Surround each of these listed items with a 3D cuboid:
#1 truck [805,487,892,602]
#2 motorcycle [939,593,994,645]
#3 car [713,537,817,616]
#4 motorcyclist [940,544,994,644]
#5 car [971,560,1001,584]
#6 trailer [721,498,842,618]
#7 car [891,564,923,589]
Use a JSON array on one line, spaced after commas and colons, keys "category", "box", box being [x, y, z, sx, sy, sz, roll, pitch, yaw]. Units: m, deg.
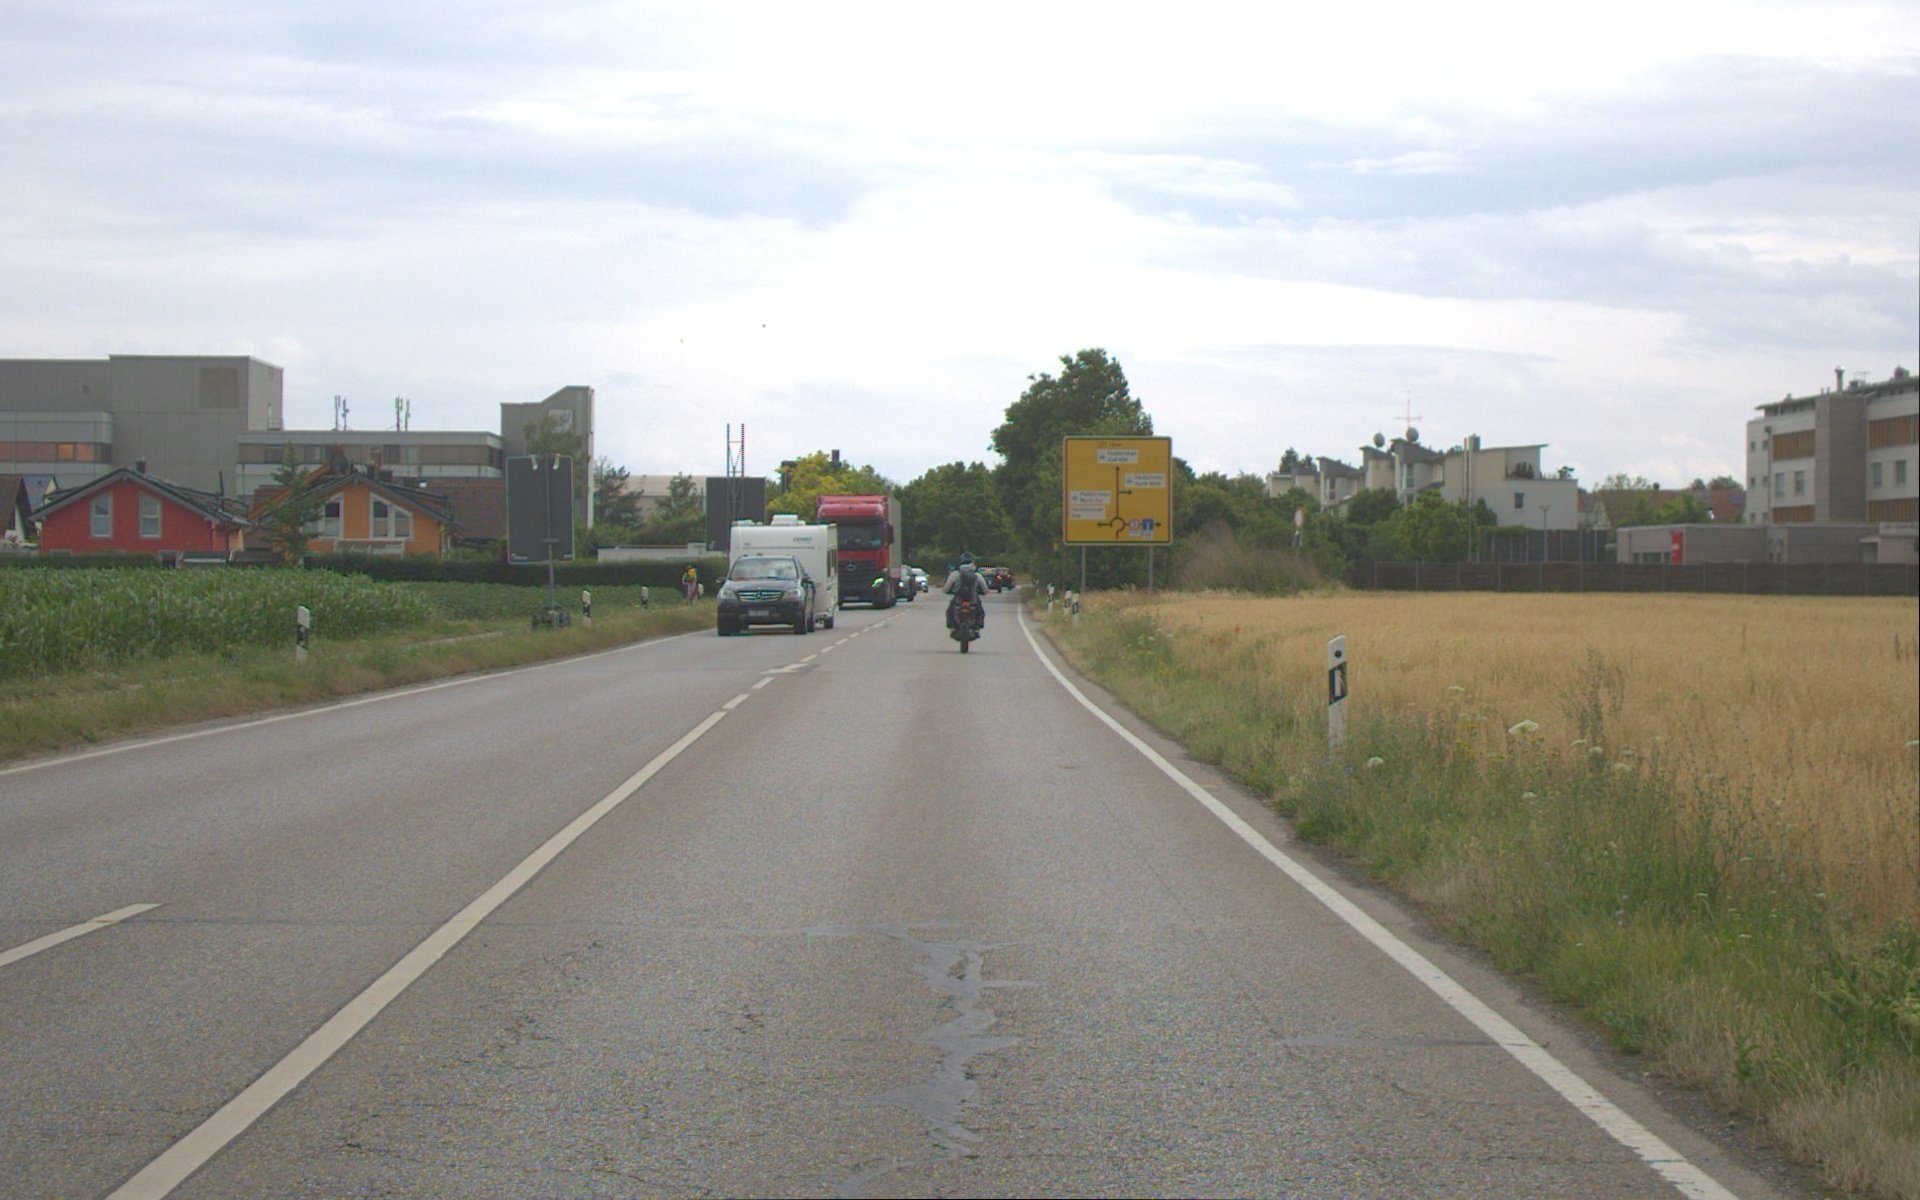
[{"category": "truck", "box": [-3.939, -1.949, 122.310, 2.729, 3.974, 6.816, 0, 0, 1]}, {"category": "motorcycle", "box": [0.119, 0.329, 60.459, 0.941, 0.887, 2.146, 0, 1, 1]}, {"category": "car", "box": [-4.252, -0.530, 75.734, 1.993, 1.693, 4.676, 0, 1, 0]}, {"category": "motorcyclist", "box": [0.126, -0.108, 60.487, 0.941, 1.744, 1.200, 0, 0, 1]}, {"category": "car", "box": [1.630, -1.750, 213.969, 1.855, 1.467, 4.000, 0, 1, 1]}, {"category": "trailer", "box": [-4.178, -1.000, 81.667, 2.324, 2.720, 7.843, 0, 1, 1]}, {"category": "car", "box": [-3.122, -1.418, 203.374, 1.855, 1.467, 4.000, 0, 1, -1]}]
